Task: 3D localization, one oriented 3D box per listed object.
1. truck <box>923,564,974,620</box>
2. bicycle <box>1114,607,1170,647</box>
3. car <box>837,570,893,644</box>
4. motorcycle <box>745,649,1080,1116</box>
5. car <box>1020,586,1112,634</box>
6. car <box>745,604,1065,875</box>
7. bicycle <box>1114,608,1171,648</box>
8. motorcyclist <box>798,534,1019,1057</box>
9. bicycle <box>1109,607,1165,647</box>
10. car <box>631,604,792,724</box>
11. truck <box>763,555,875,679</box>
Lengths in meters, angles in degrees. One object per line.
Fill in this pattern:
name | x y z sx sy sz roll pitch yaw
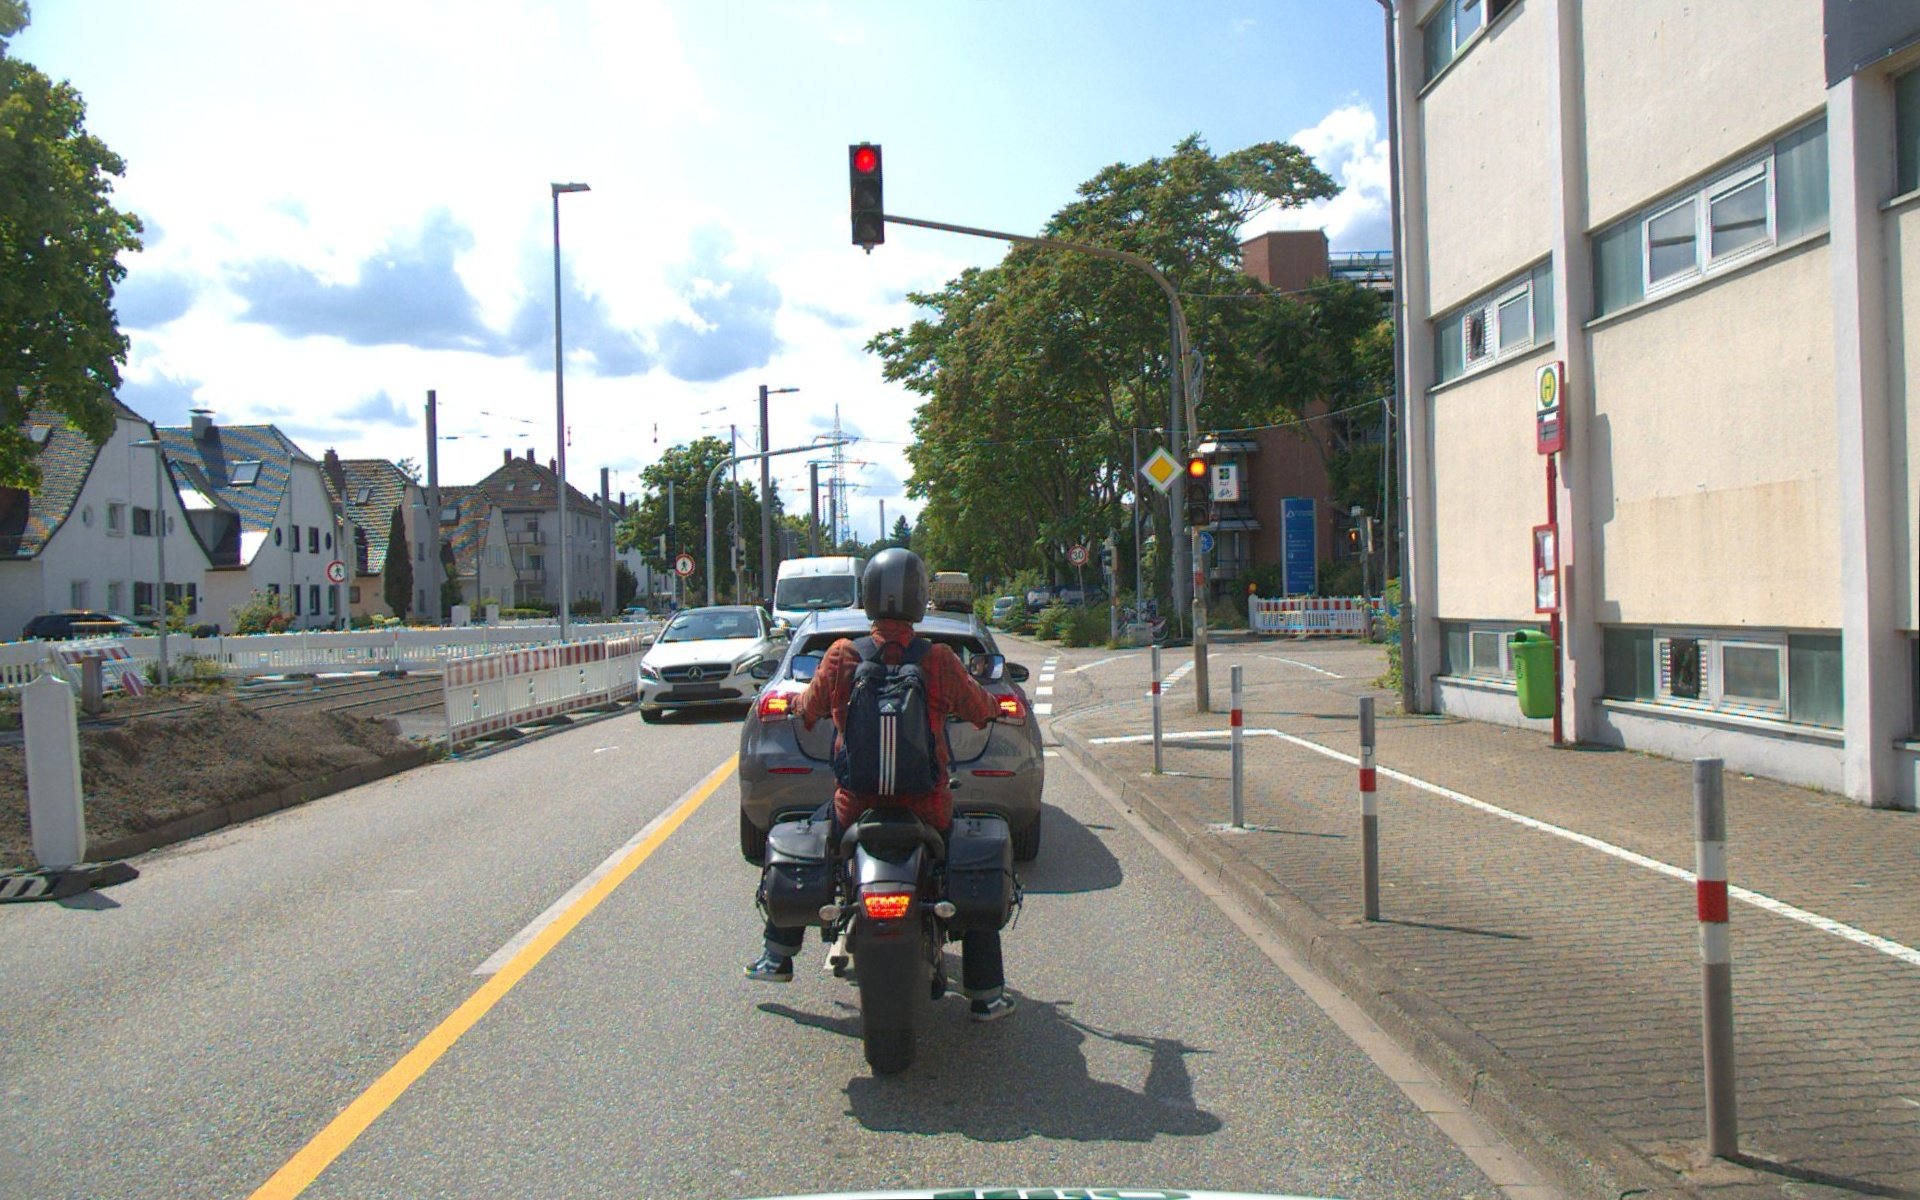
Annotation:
truck | -0.626 -0.410 99.954 2.906 3.229 7.764 0 -1 1
bicycle | 5.490 0.810 49.919 1.672 1.192 0.438 0 -1 3
car | -2.906 0.234 51.197 1.557 2.180 3.626 0 -1 -1
motorcycle | -0.164 0.826 5.850 0.923 1.221 2.471 0 0 -2
car | 4.486 0.445 69.549 1.772 1.959 3.973 0 -1 43
car | -0.496 0.759 10.895 1.698 1.428 4.081 1 0 -6
bicycle | 5.446 0.830 49.356 1.672 1.192 0.438 0 -1 3
motorcyclist | -0.168 0.615 5.531 0.684 1.632 0.691 0 -1 -2
bicycle | 5.394 0.816 50.452 1.672 1.192 0.438 0 -1 3
car | -3.383 0.847 23.209 1.709 1.462 4.082 -2 -1 -2
truck | -3.124 0.296 37.724 2.050 2.519 5.195 -3 1 -1
